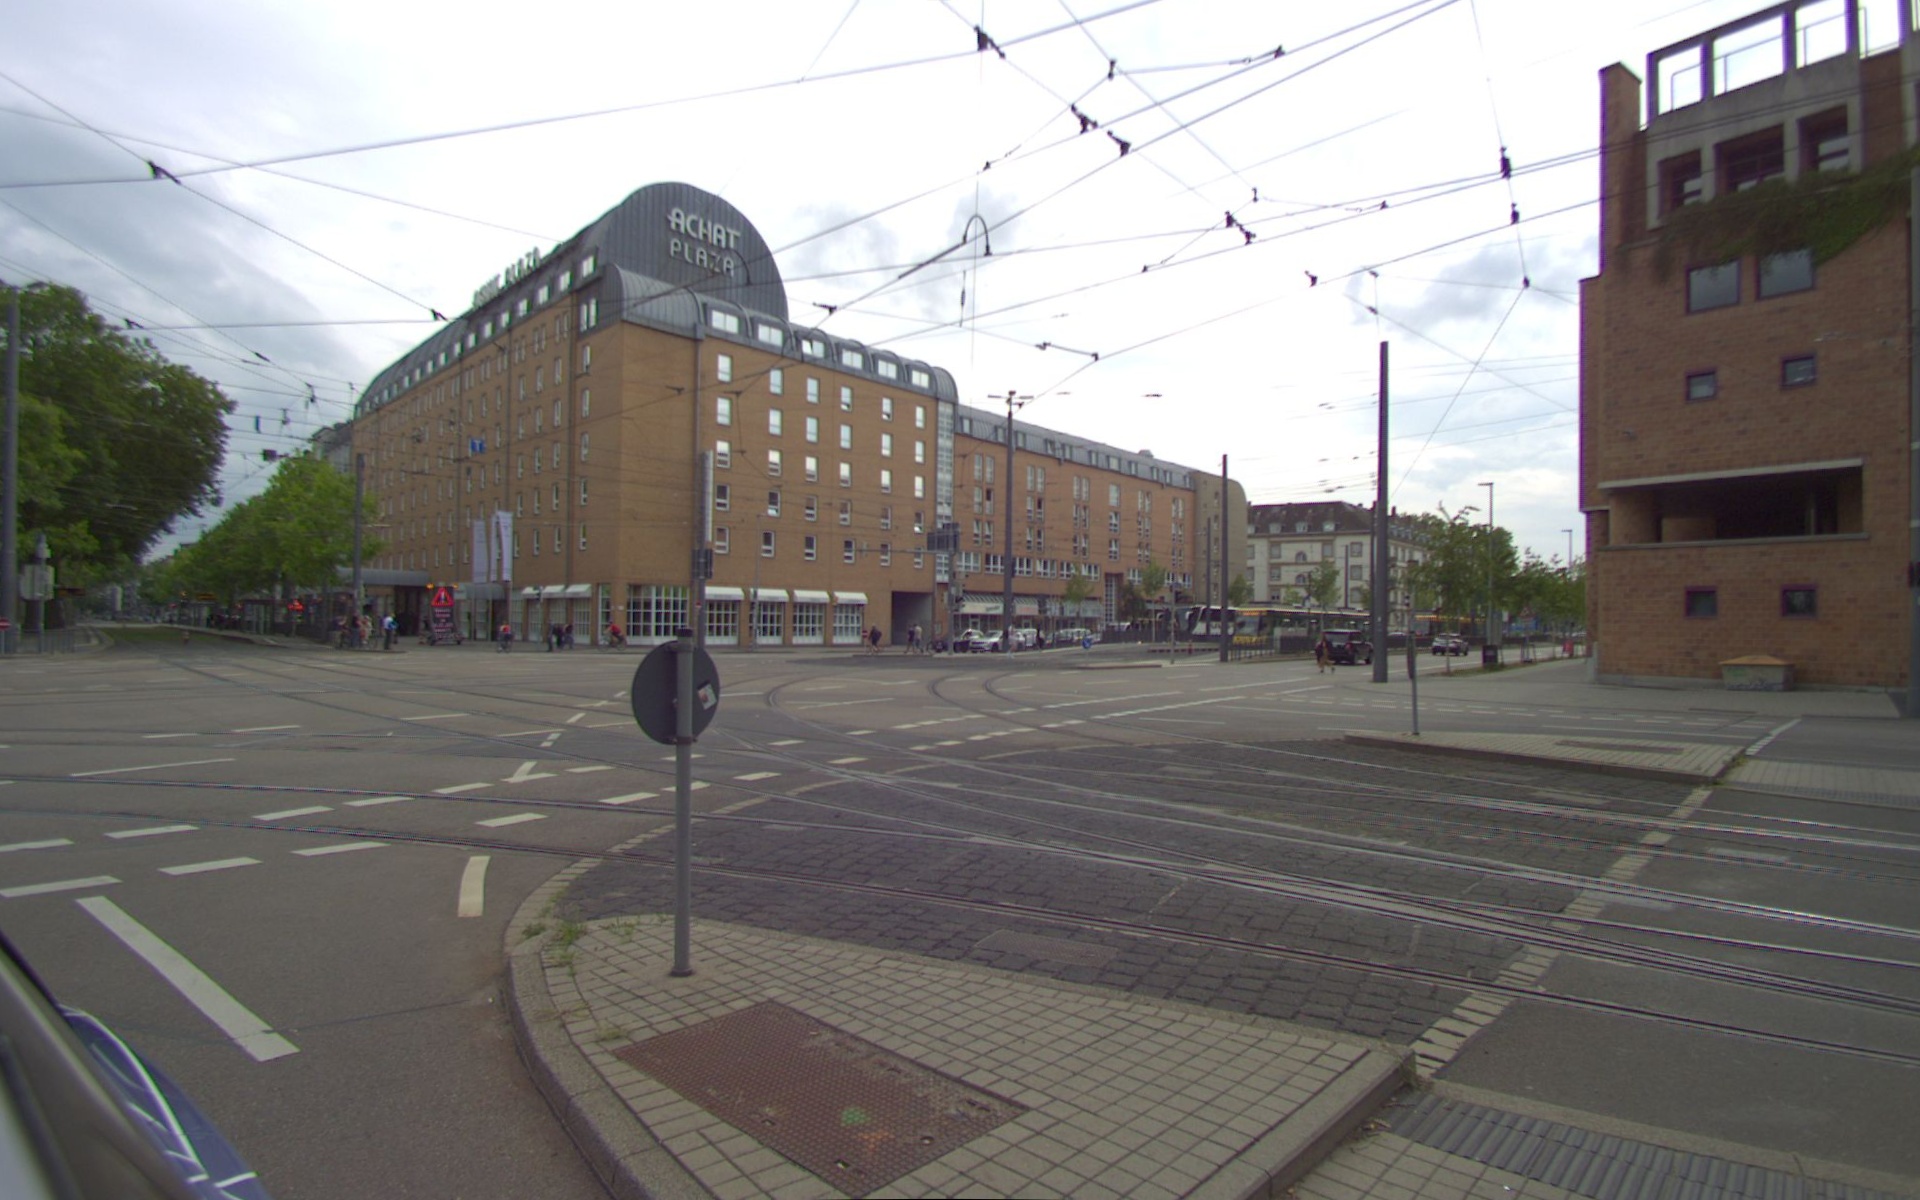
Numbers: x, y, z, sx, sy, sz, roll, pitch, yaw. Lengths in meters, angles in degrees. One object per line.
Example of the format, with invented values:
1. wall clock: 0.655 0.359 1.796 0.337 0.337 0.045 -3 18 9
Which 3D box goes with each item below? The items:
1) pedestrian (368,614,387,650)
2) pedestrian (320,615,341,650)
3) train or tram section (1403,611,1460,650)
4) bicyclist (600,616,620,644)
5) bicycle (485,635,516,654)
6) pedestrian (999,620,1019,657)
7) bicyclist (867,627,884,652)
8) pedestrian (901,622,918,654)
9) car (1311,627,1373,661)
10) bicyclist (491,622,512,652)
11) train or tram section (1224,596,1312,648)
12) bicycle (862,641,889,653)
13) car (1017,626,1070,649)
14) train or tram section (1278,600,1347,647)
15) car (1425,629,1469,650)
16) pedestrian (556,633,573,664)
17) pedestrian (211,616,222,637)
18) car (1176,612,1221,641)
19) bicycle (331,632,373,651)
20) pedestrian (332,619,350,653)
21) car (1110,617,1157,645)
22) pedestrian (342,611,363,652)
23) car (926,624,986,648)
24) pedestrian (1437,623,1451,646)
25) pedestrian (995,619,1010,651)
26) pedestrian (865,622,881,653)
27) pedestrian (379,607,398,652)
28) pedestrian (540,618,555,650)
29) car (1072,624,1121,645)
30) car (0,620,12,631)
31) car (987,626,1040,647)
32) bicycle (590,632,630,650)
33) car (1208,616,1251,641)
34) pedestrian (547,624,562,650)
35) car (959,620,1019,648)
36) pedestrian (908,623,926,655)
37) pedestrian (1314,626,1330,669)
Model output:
1. pedestrian: -28.125 1.549 48.889 0.577 1.719 0.557 0 -2 34
2. pedestrian: -31.122 1.605 50.044 0.533 1.719 0.677 0 -2 33
3. train or tram section: 44.380 2.895 95.090 2.450 3.477 9.479 -1 -2 40
4. bicyclist: -19.642 1.687 56.829 0.852 1.512 0.637 2 -2 -43
5. bicycle: -23.620 2.278 52.034 1.890 0.943 0.651 0 -2 38
6. pedestrian: 2.340 1.820 48.285 0.750 1.745 0.571 0 -2 40
7. bicyclist: -5.397 2.520 64.676 0.636 1.512 0.854 0 -2 40
8. pedestrian: -2.766 2.089 55.421 0.749 1.745 0.571 0 -2 35
9. car: 19.497 2.193 51.547 1.929 1.620 4.479 0 -2 34
10. bicyclist: -23.585 1.918 52.013 0.816 1.512 0.643 0 -2 38
11. train or tram section: 22.163 1.606 72.348 2.575 3.477 9.479 -1 -2 40
12. bicycle: -5.387 3.001 64.665 0.639 0.787 1.773 0 -2 39
13. car: 5.749 2.539 69.008 1.700 1.453 3.948 0 -2 39
14. train or tram section: 27.543 1.845 78.860 2.575 3.477 7.520 -1 -2 40
15. car: 35.029 2.841 72.768 1.932 1.442 4.246 0 -2 39
16. pedestrian: -22.399 2.742 57.330 0.740 1.745 0.579 0 -2 -4
17. pedestrian: -63.119 2.266 85.961 0.639 1.719 0.625 2 -3 -43
18. car: 20.084 2.242 85.117 1.700 2.337 5.017 -1 -2 39
19. bicycle: -29.501 2.018 49.124 0.500 0.895 1.687 0 -2 45
20. pedestrian: -31.744 1.829 51.894 0.533 1.719 0.557 0 -2 34
21. car: 14.366 2.568 83.657 1.700 2.247 4.772 0 -2 39
22. pedestrian: -29.338 1.499 48.864 0.534 1.966 0.684 0 -2 40
23. car: -0.238 2.320 65.417 1.799 1.490 3.947 -1 -2 39
24. pedestrian: 42.863 3.043 89.584 0.780 2.029 1.213 -1 -2 41
25. pedestrian: 2.348 1.956 56.138 0.576 1.745 0.625 0 -2 31
26. pedestrian: -4.956 2.131 57.744 0.749 1.745 0.571 -1 -2 35
27. pedestrian: -27.125 1.399 48.065 0.533 2.146 0.557 0 -2 34
28. pedestrian: -22.780 1.866 55.915 0.535 1.719 0.556 0 -2 42
29. car: 9.742 2.430 72.173 1.700 1.453 3.948 -1 -2 39
30. car: -156.300 4.212 165.251 3.997 1.722 1.646 0 -2 40
31. car: 3.792 2.552 70.983 1.700 1.453 3.948 0 -2 39
32. bicycle: -19.653 2.294 56.814 2.029 1.016 0.641 2 -2 -43
33. car: 24.028 2.570 90.045 1.998 2.184 4.510 -1 -3 40
34. pedestrian: -23.655 2.170 59.025 0.642 1.518 0.533 1 -1 8
35. car: 1.855 2.135 64.103 1.799 1.697 3.947 0 -2 39
36. pedestrian: -2.376 2.140 56.129 0.749 1.745 0.571 0 -2 35
37. pedestrian: 14.742 1.919 41.237 0.460 1.722 0.475 -1 -2 44
